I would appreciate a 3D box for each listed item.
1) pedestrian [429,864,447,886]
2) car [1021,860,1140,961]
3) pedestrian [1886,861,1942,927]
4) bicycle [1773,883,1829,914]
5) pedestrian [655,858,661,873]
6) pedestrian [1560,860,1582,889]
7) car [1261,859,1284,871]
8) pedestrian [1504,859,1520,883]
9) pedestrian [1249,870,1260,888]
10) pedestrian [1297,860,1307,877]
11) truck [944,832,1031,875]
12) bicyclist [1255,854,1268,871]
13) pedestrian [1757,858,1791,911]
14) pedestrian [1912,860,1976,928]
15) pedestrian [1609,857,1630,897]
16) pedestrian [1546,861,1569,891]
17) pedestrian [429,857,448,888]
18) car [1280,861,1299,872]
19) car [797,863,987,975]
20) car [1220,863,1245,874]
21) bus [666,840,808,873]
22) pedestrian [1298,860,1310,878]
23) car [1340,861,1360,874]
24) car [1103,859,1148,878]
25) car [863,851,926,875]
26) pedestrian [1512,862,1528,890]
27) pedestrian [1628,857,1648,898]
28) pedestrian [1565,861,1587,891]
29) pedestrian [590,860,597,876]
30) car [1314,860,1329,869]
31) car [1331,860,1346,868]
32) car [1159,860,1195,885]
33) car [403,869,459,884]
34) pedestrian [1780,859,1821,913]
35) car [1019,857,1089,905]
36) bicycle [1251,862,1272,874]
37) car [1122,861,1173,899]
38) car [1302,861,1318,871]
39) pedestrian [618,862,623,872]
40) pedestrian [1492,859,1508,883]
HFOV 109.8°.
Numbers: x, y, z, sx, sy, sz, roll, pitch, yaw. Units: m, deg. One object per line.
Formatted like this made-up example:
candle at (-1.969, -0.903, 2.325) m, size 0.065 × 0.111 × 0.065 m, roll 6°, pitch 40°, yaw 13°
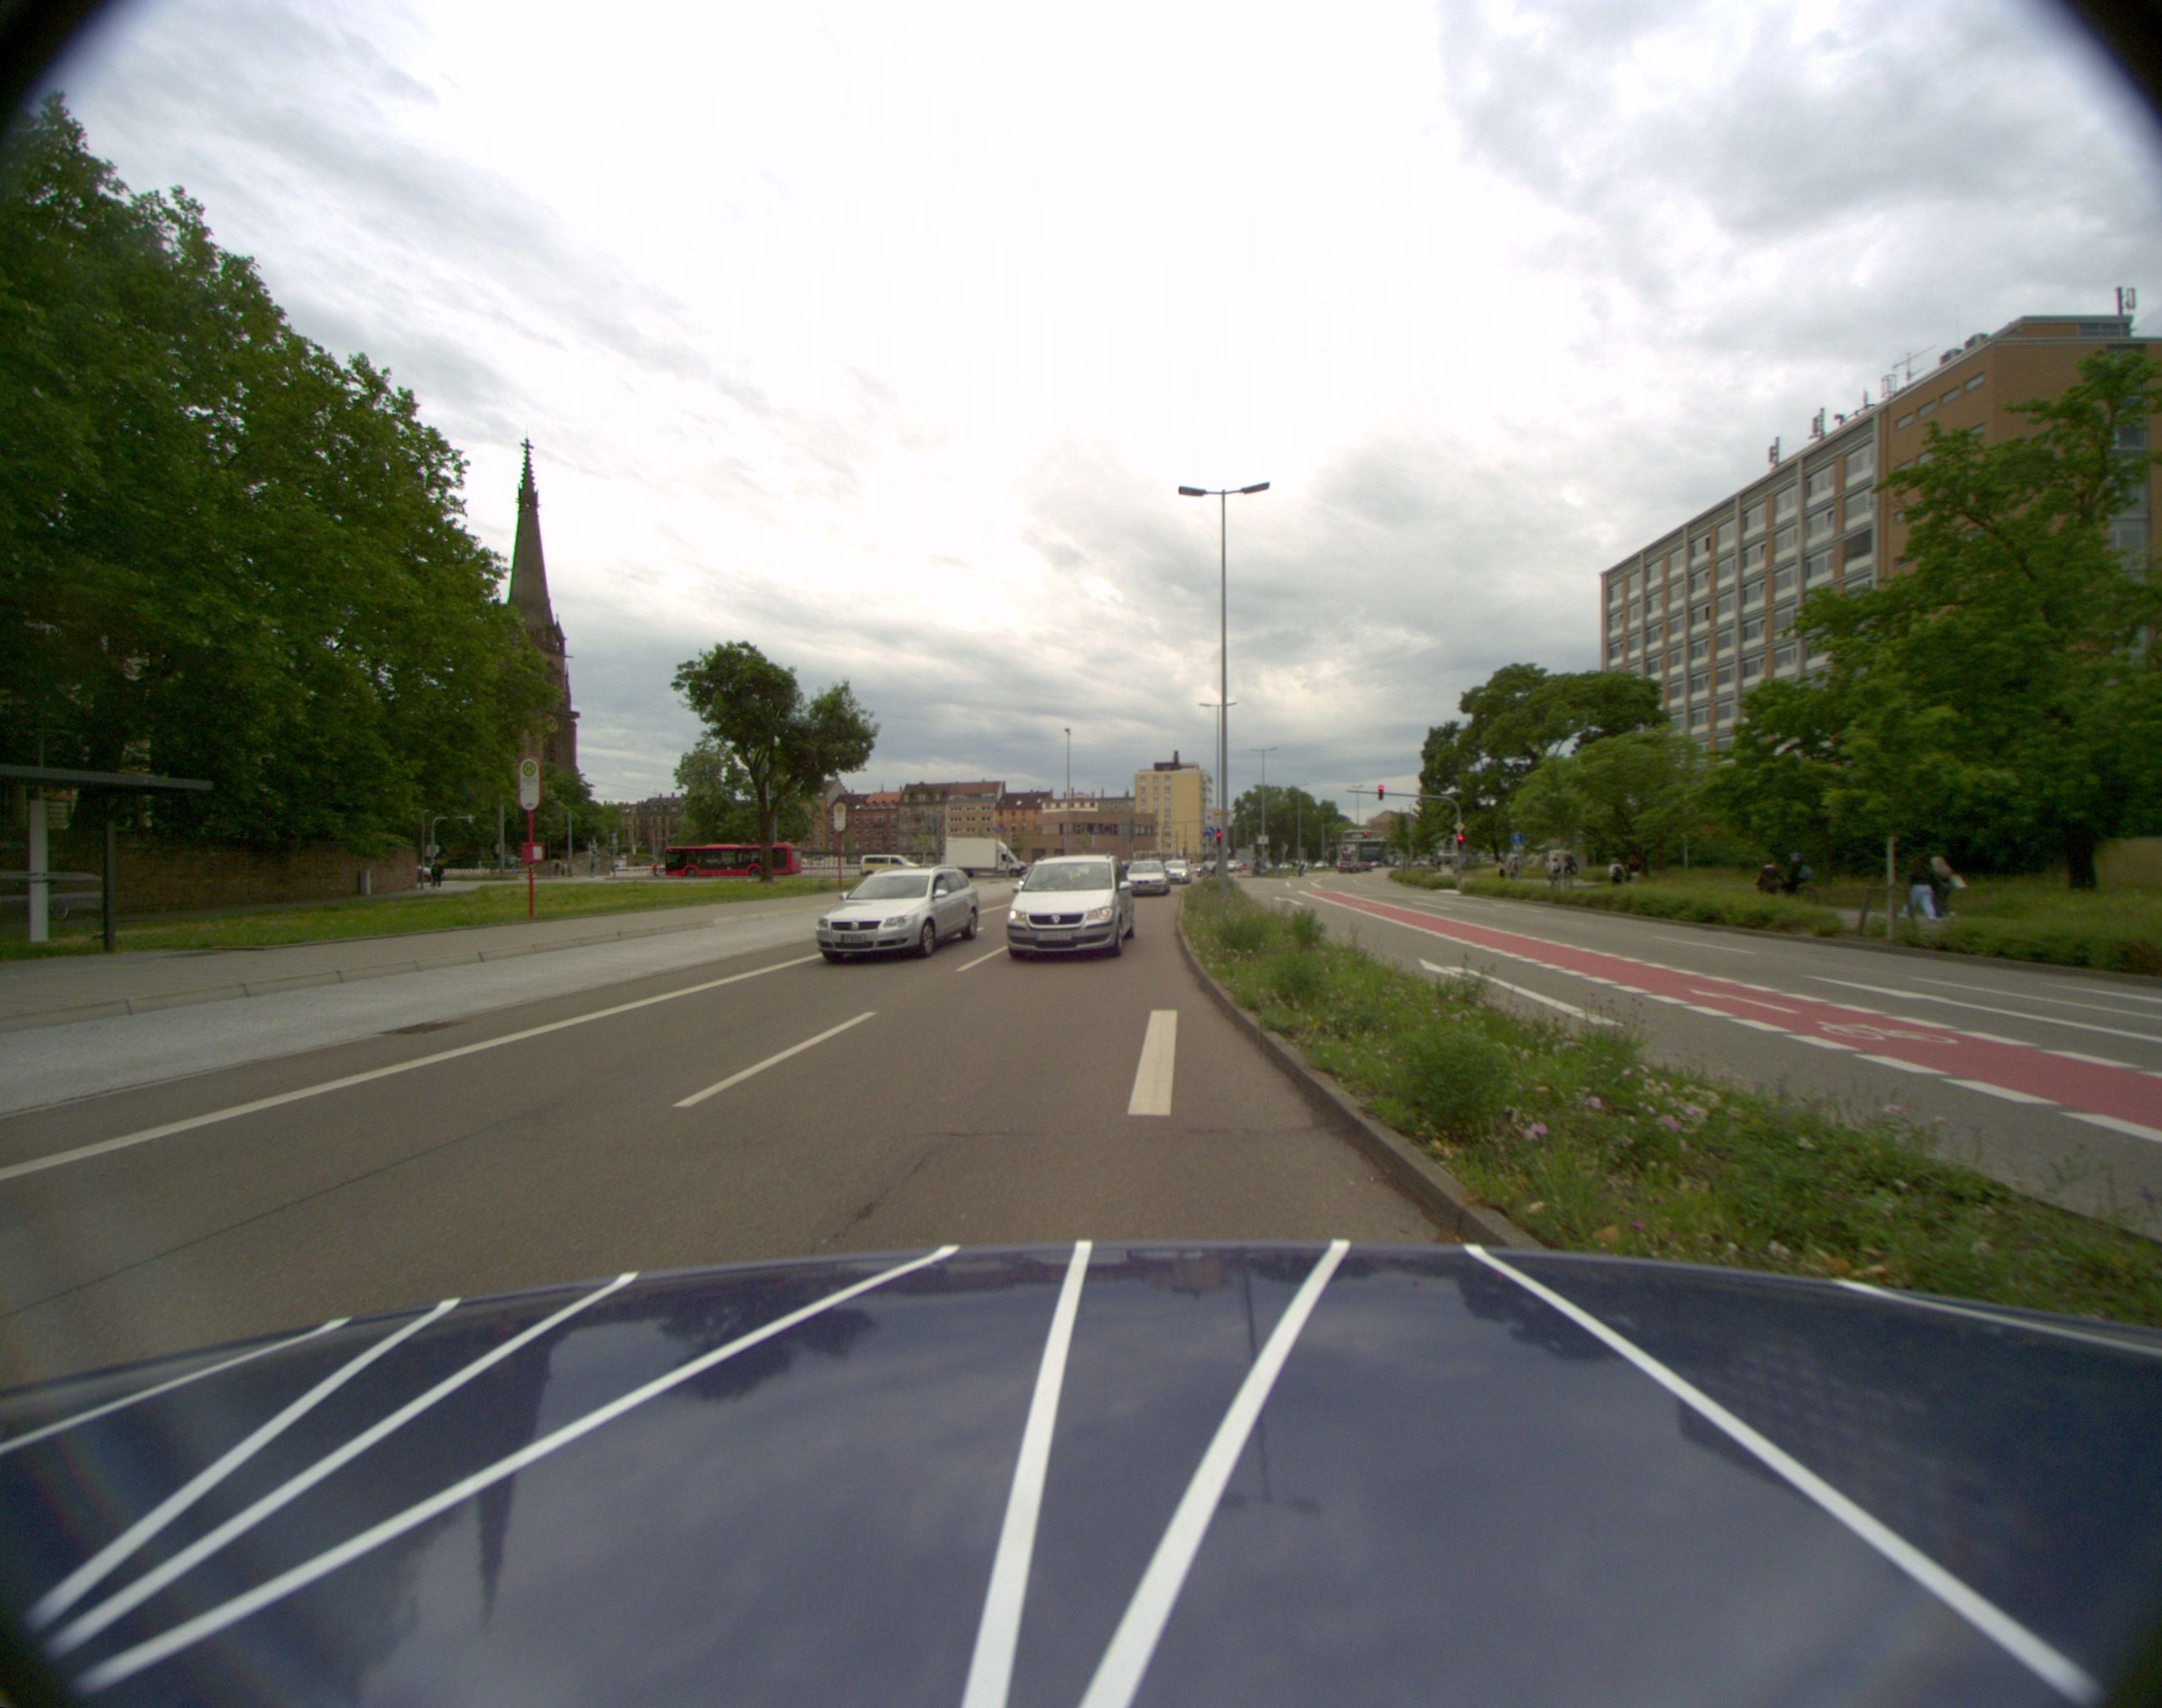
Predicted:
pedestrian at (-47.746, 1.541, 56.389) m, size 0.871 × 1.628 × 0.693 m, roll -1°, pitch -1°, yaw 22°
car at (0.142, 0.923, 14.208) m, size 1.733 × 1.593 × 4.108 m, roll -1°, pitch 0°, yaw 6°
pedestrian at (21.115, 0.998, 19.268) m, size 0.587 × 1.650 × 0.720 m, roll 1°, pitch 0°, yaw 2°
bicycle at (22.059, 1.346, 23.307) m, size 0.661 × 0.882 × 1.718 m, roll 1°, pitch 0°, yaw 23°
pedestrian at (-40.648, 1.099, 73.050) m, size 0.371 × 1.458 × 0.374 m, roll 1°, pitch 0°, yaw 7°
pedestrian at (27.397, 1.156, 42.493) m, size 0.635 × 1.603 × 0.829 m, roll -1°, pitch -1°, yaw -14°
car at (29.511, 1.707, 117.030) m, size 1.994 × 1.870 × 4.009 m, roll 1°, pitch 0°, yaw 36°
pedestrian at (29.541, 1.163, 52.090) m, size 0.708 × 1.661 × 0.890 m, roll -1°, pitch -1°, yaw 11°
pedestrian at (17.046, 2.458, 74.695) m, size 0.917 × 1.794 × 0.541 m, roll 1°, pitch 0°, yaw 24°
pedestrian at (21.495, 1.410, 73.916) m, size 0.777 × 1.657 × 0.707 m, roll 1°, pitch 0°, yaw -1°
truck at (-7.747, -0.046, 63.600) m, size 6.848 × 3.392 × 2.561 m, roll -1°, pitch 2°, yaw 3°
bicyclist at (18.370, 0.896, 77.501) m, size 1.190 × 1.725 × 0.807 m, roll 1°, pitch 0°, yaw 10°
pedestrian at (21.389, 0.937, 23.450) m, size 0.575 × 1.599 × 0.617 m, roll 1°, pitch 0°, yaw 23°
pedestrian at (21.789, 1.000, 19.204) m, size 0.708 × 1.662 × 0.767 m, roll 1°, pitch 0°, yaw 2°
pedestrian at (23.029, 0.984, 32.505) m, size 0.622 × 1.685 × 0.748 m, roll 1°, pitch 0°, yaw 30°
pedestrian at (23.885, 1.102, 38.088) m, size 0.730 × 1.471 × 0.814 m, roll 1°, pitch 0°, yaw 11°
pedestrian at (-36.191, 1.052, 42.794) m, size 0.759 × 1.725 × 0.820 m, roll 1°, pitch 0°, yaw -42°
car at (34.735, 2.123, 126.567) m, size 1.834 × 1.753 × 3.920 m, roll 1°, pitch 0°, yaw 34°
car at (-3.161, 1.028, 13.808) m, size 1.828 × 1.541 × 4.529 m, roll -2°, pitch 1°, yaw 6°
car at (21.086, 1.968, 105.837) m, size 1.815 × 1.466 × 4.042 m, roll 1°, pitch 0°, yaw 36°
bus at (-31.809, 0.281, 70.483) m, size 12.083 × 2.890 × 2.939 m, roll -1°, pitch 0°, yaw 4°
pedestrian at (22.411, 1.481, 76.388) m, size 0.768 × 1.794 × 0.740 m, roll 1°, pitch 0°, yaw -14°
car at (36.509, 1.847, 102.941) m, size 1.812 × 1.657 × 3.957 m, roll 1°, pitch 1°, yaw 30°
car at (4.353, 1.447, 74.470) m, size 4.441 × 1.735 × 1.759 m, roll 2°, pitch 0°, yaw -41°
car at (-15.697, 0.769, 64.058) m, size 4.709 × 1.909 × 1.920 m, roll 0°, pitch 3°, yaw 4°
pedestrian at (27.970, 1.392, 48.415) m, size 0.638 × 1.790 × 0.762 m, roll 0°, pitch 0°, yaw 11°
pedestrian at (23.780, 0.982, 32.420) m, size 0.579 × 1.702 × 0.763 m, roll 1°, pitch 0°, yaw 31°
pedestrian at (24.692, 1.090, 37.921) m, size 0.636 × 1.471 × 0.762 m, roll 1°, pitch 0°, yaw 11°
pedestrian at (-53.040, 1.501, 82.663) m, size 0.373 × 1.695 × 0.372 m, roll 1°, pitch 0°, yaw 7°
car at (45.578, 1.996, 144.042) m, size 1.801 × 1.586 × 3.767 m, roll 1°, pitch 0°, yaw 32°
car at (51.740, 1.963, 152.819) m, size 1.606 × 1.586 × 3.768 m, roll 1°, pitch 0°, yaw 39°
car at (6.078, 1.143, 47.746) m, size 1.784 × 1.454 × 3.875 m, roll -1°, pitch 0°, yaw 14°
car at (-57.007, 1.960, 66.636) m, size 3.536 × 1.149 × 1.446 m, roll 1°, pitch 0°, yaw -5°
pedestrian at (22.075, 0.963, 23.323) m, size 0.661 × 1.622 × 0.765 m, roll 1°, pitch 0°, yaw 23°
car at (-0.908, 0.935, 28.519) m, size 1.911 × 1.614 × 4.493 m, roll -2°, pitch 0°, yaw 7°
bicycle at (18.420, 1.405, 77.489) m, size 2.003 × 1.136 × 0.807 m, roll 1°, pitch 0°, yaw 9°
car at (2.786, 1.016, 31.189) m, size 1.725 × 1.405 × 4.249 m, roll -1°, pitch -1°, yaw 9°
car at (41.264, 2.181, 136.868) m, size 1.606 × 1.586 × 3.767 m, roll 1°, pitch 0°, yaw 32°
pedestrian at (-55.331, 1.616, 91.270) m, size 0.373 × 1.189 × 0.372 m, roll 1°, pitch 0°, yaw 7°
pedestrian at (28.769, 1.182, 52.220) m, size 0.708 × 1.661 × 0.944 m, roll -1°, pitch 0°, yaw 11°
